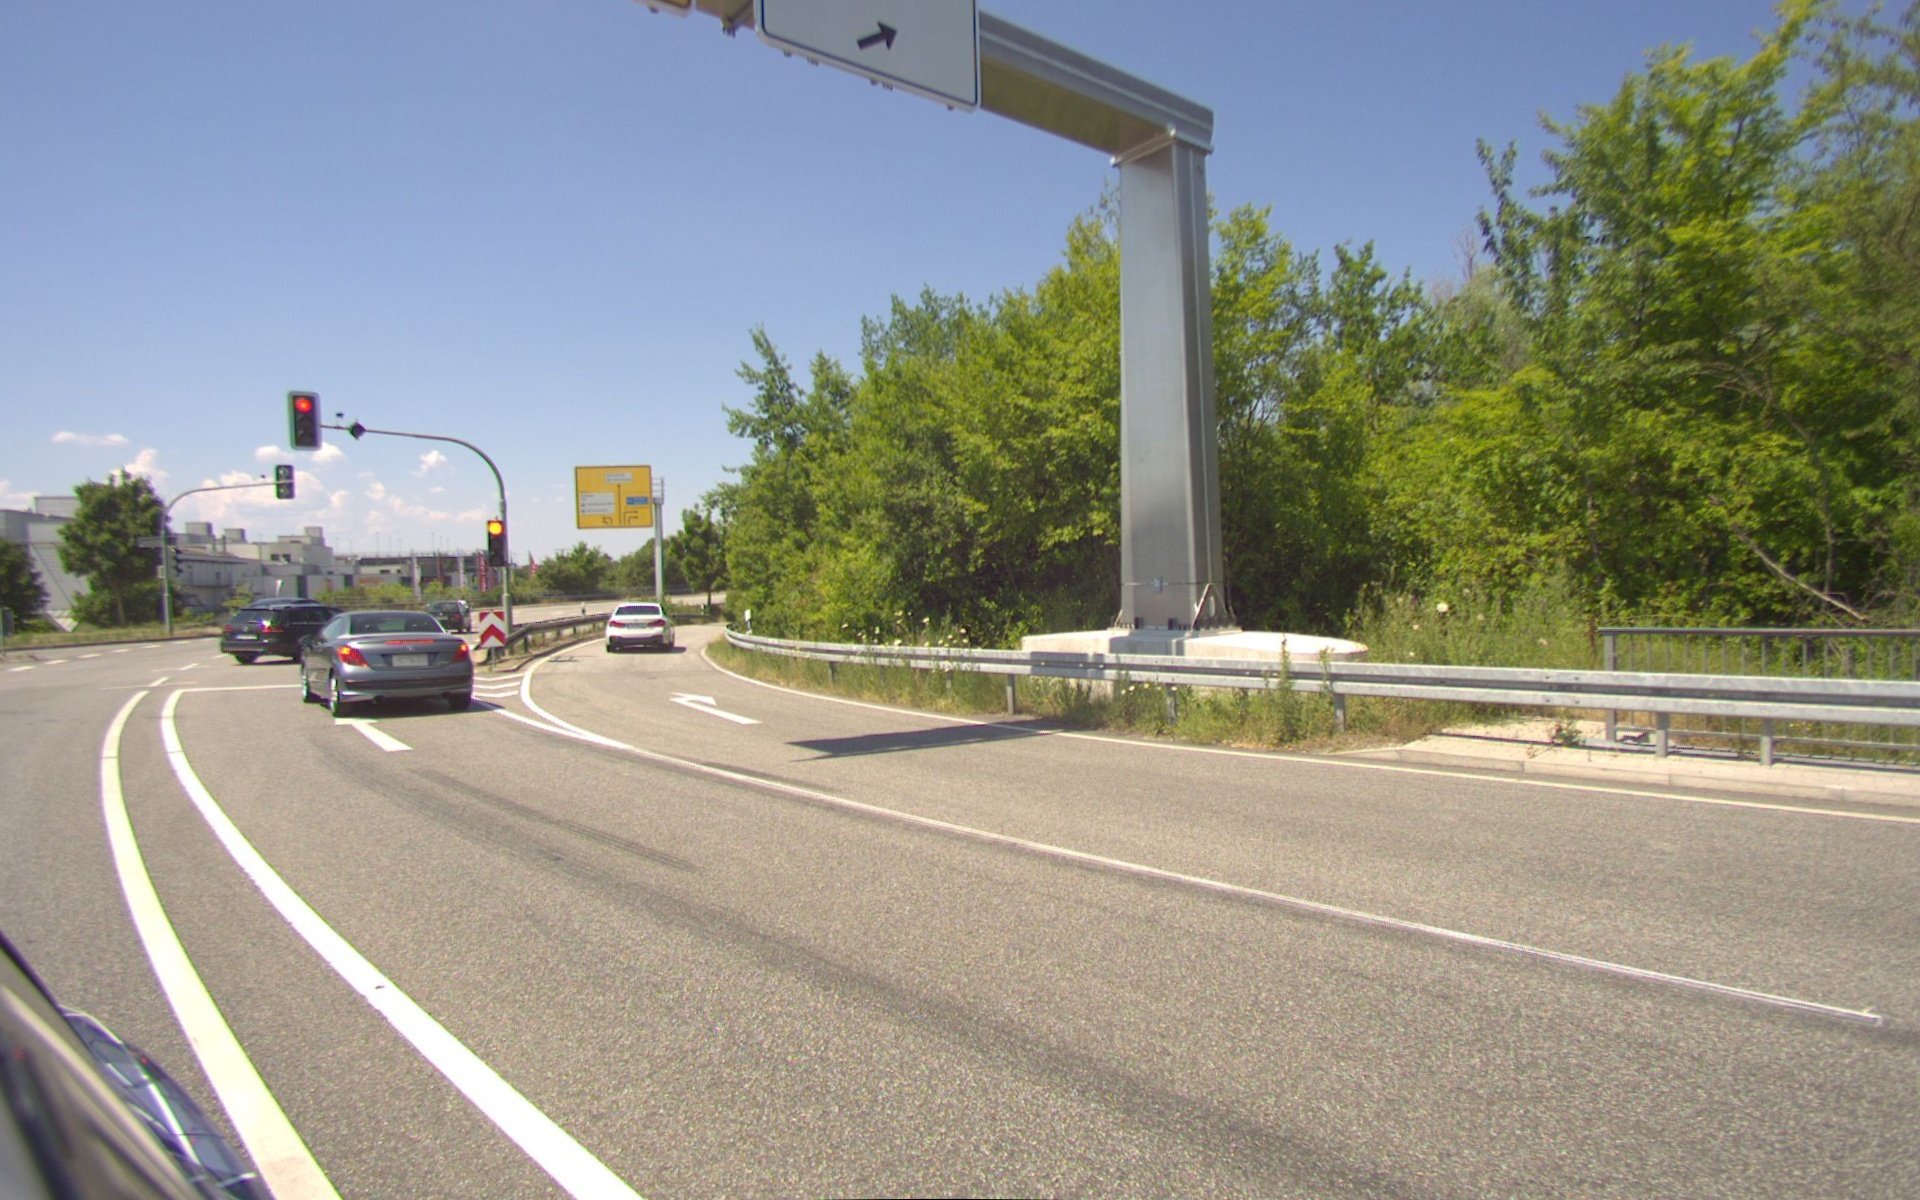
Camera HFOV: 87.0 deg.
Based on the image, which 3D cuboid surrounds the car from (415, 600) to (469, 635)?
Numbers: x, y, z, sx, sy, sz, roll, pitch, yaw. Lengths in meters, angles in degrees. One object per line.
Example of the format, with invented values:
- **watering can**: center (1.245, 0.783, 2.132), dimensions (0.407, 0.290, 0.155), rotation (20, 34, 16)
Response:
- **car**: center (-22.640, 0.746, 44.311), dimensions (1.596, 1.418, 3.311), rotation (1, 0, -18)

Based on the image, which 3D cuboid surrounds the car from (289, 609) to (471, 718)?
- **car**: center (-8.551, 0.843, 14.765), dimensions (1.625, 1.362, 3.975), rotation (1, -2, -40)

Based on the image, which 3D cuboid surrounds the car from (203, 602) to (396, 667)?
- **car**: center (-16.978, 0.817, 26.314), dimensions (1.763, 1.493, 4.418), rotation (1, 0, 8)

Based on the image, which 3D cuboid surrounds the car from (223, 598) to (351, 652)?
- **car**: center (-22.141, 0.759, 33.532), dimensions (1.851, 1.613, 4.515), rotation (-1, 1, -10)

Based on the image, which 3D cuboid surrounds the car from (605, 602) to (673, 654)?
- **car**: center (-9.902, 0.832, 31.488), dimensions (1.812, 1.495, 4.851), rotation (0, -1, -15)
